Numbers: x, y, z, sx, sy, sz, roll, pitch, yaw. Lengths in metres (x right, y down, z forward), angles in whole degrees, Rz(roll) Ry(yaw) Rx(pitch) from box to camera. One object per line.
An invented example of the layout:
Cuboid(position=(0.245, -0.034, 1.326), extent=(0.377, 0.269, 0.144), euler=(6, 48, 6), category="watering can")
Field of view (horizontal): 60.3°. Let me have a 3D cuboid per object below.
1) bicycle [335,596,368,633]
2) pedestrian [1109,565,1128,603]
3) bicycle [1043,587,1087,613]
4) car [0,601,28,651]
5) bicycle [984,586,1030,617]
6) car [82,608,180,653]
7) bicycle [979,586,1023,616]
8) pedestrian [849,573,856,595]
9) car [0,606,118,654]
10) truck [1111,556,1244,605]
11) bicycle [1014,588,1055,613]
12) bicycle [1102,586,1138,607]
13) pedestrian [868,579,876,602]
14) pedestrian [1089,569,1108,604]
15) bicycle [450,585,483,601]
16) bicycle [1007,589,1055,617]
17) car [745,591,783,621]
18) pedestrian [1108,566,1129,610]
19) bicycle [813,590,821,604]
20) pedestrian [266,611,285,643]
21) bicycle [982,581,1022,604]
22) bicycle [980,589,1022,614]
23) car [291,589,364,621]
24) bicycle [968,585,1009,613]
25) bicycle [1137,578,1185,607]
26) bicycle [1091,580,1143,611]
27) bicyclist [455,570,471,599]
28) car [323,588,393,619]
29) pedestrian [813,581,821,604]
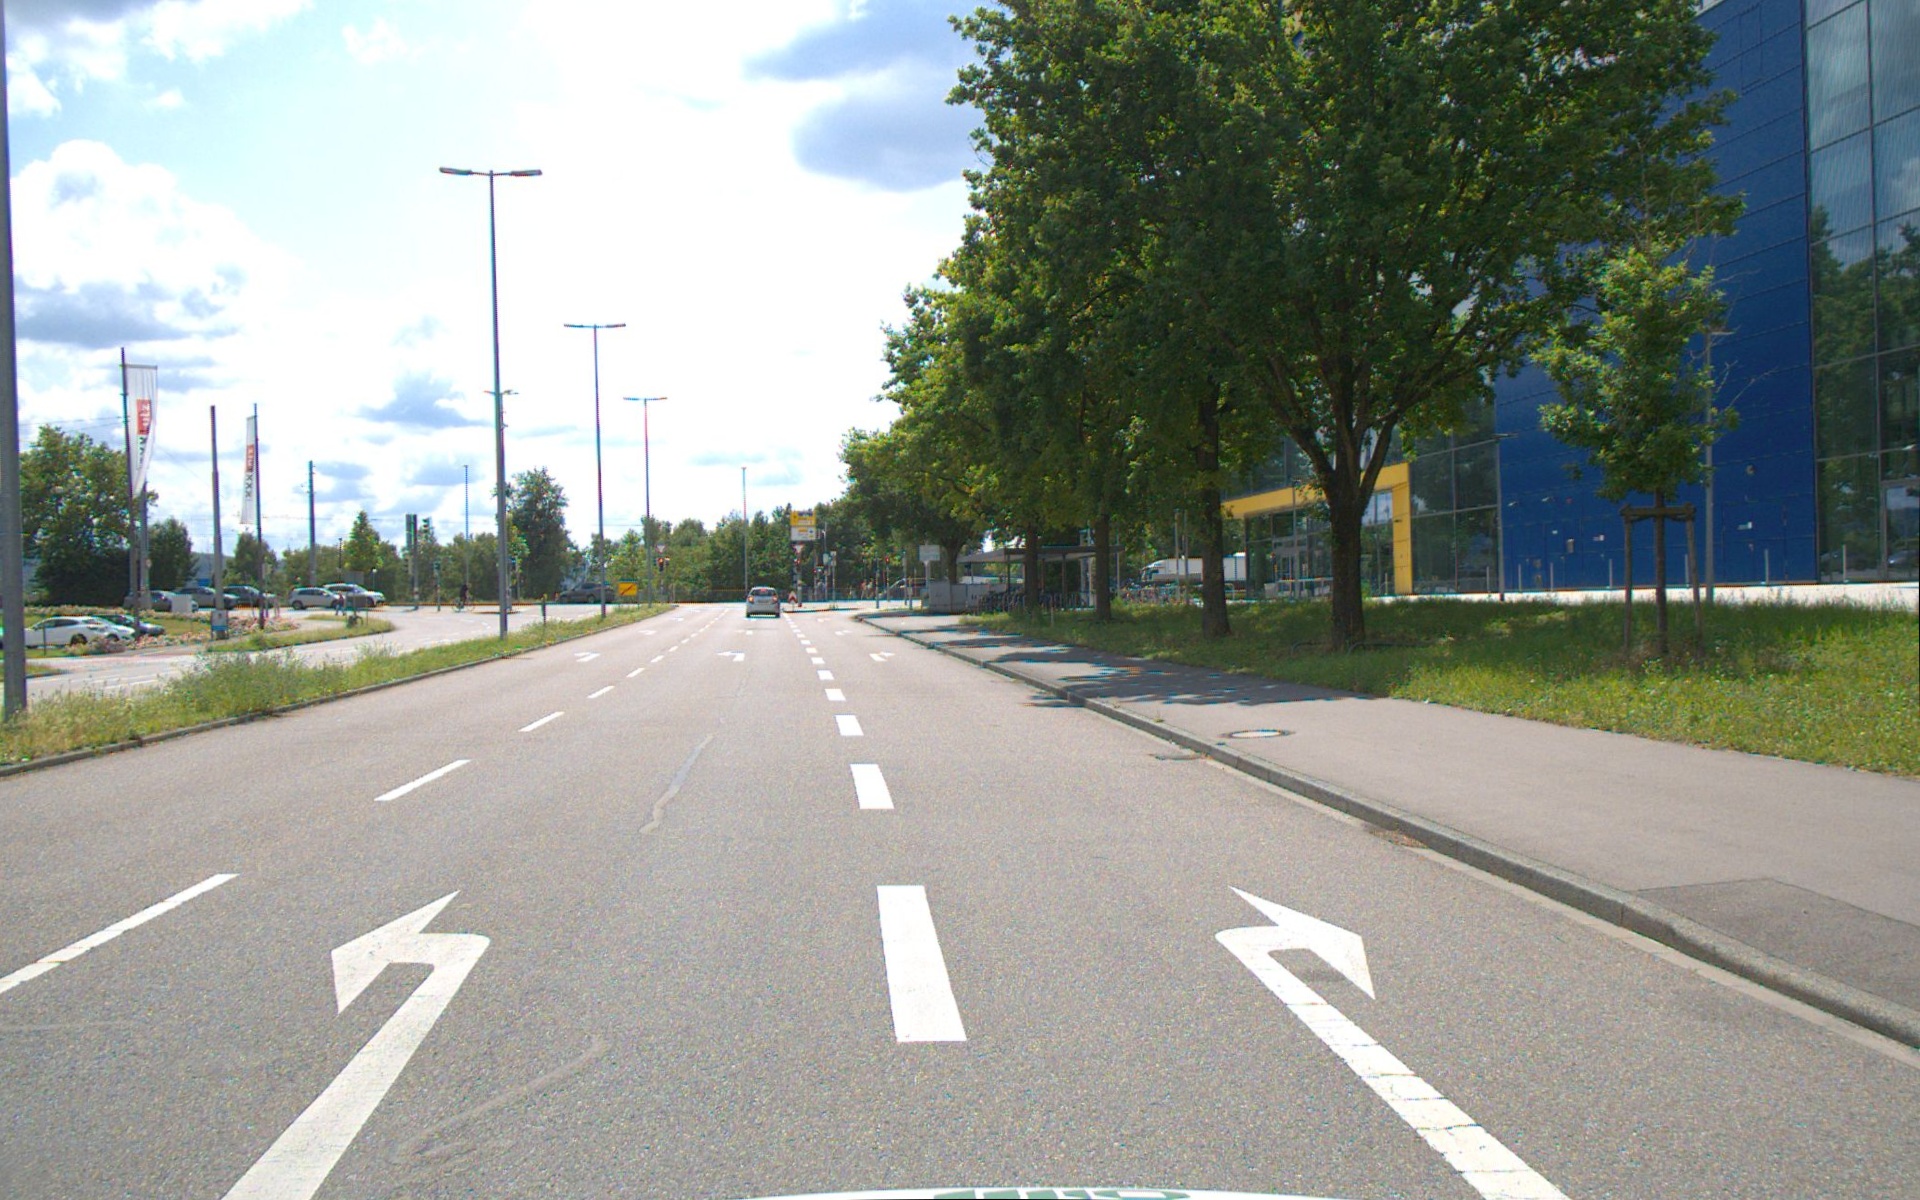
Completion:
Cuboid(position=(-29.438, 0.681, 80.049), extent=(0.998, 1.704, 2.046), euler=(-2, 1, -6), category="bicycle")
Cuboid(position=(9.058, -0.889, 94.506), extent=(0.986, 2.108, 0.975), euler=(-2, -1, 7), category="pedestrian")
Cuboid(position=(4.510, -0.011, 71.054), extent=(1.829, 1.012, 0.422), euler=(-3, 0, -12), category="bicycle")
Cuboid(position=(-41.552, 1.138, 68.903), extent=(4.267, 2.024, 1.997), euler=(-2, 0, -8), category="car")
Cuboid(position=(1.999, 0.062, 70.553), extent=(1.859, 1.190, 0.423), euler=(-3, 0, -6), category="bicycle")
Cuboid(position=(-40.502, 1.464, 80.931), extent=(3.925, 2.049, 1.990), euler=(-2, 0, -18), category="car")
Cuboid(position=(1.808, 0.039, 72.771), extent=(1.829, 1.208, 0.422), euler=(-3, 0, -12), category="bicycle")
Cuboid(position=(-8.332, -1.241, 128.073), extent=(0.512, 1.751, 0.730), euler=(-2, 1, -3), category="pedestrian")
Cuboid(position=(-41.572, 1.357, 76.367), extent=(4.267, 2.024, 1.997), euler=(-2, 0, -8), category="car")
Cuboid(position=(19.908, -1.829, 151.464), extent=(11.730, 4.176, 2.948), euler=(-1, 1, -7), category="truck")
Cuboid(position=(3.449, 0.018, 76.848), extent=(1.826, 1.052, 0.423), euler=(-2, 1, -6), category="bicycle")
Cuboid(position=(8.374, -0.170, 86.634), extent=(1.826, 1.012, 0.423), euler=(-2, 1, -6), category="bicycle")
Cuboid(position=(-7.057, -0.769, 132.710), extent=(0.662, 1.778, 0.636), euler=(-1, 2, -5), category="pedestrian")
Cuboid(position=(7.894, -0.737, 94.133), extent=(0.986, 1.935, 0.975), euler=(-2, -2, 7), category="pedestrian")
Cuboid(position=(-32.244, -0.428, 108.098), extent=(1.979, 1.016, 0.621), euler=(1, 0, -7), category="bicycle")
Cuboid(position=(2.850, 0.125, 66.709), extent=(1.829, 1.012, 0.422), euler=(-4, 1, -12), category="bicycle")
Cuboid(position=(-9.928, 0.337, 83.951), extent=(1.858, 1.495, 3.828), euler=(0, -1, -6), category="car")
Cuboid(position=(6.383, -0.472, 66.645), extent=(0.621, 1.751, 0.524), euler=(-3, -1, 29), category="pedestrian")
Cuboid(position=(-11.568, -0.261, 133.860), extent=(0.607, 1.106, 1.720), euler=(-1, 1, -5), category="bicycle")
Cuboid(position=(-40.540, 1.577, 97.943), extent=(0.857, 1.870, 0.788), euler=(1, -1, -36), category="pedestrian")
Cuboid(position=(2.046, -0.361, 80.762), extent=(1.829, 1.012, 0.422), euler=(-3, -1, -12), category="bicycle")
Cuboid(position=(1.838, 0.070, 74.237), extent=(1.829, 1.012, 0.422), euler=(-3, 0, -12), category="bicycle")
Cuboid(position=(-43.484, 0.348, 113.819), extent=(4.267, 2.024, 1.997), euler=(-2, 0, -8), category="car")
Cuboid(position=(1.353, -0.044, 77.678), extent=(1.829, 1.208, 0.422), euler=(-2, 1, -12), category="bicycle")
Cuboid(position=(9.366, -0.369, 77.175), extent=(2.095, 1.251, 0.721), euler=(-3, 1, 3), category="bicycle")
Cuboid(position=(6.272, -0.171, 66.195), extent=(1.971, 1.127, 0.576), euler=(-3, 0, 31), category="bicycle")
Cuboid(position=(-32.451, -1.012, 108.061), extent=(0.903, 1.878, 0.610), euler=(-1, 1, -8), category="bicyclist")
Cuboid(position=(-42.514, 0.260, 116.868), extent=(4.267, 2.024, 1.997), euler=(-2, 0, -8), category="car")
Cuboid(position=(-11.569, -0.621, 133.824), extent=(0.599, 1.799, 0.671), euler=(-1, 0, -5), category="pedestrian")
